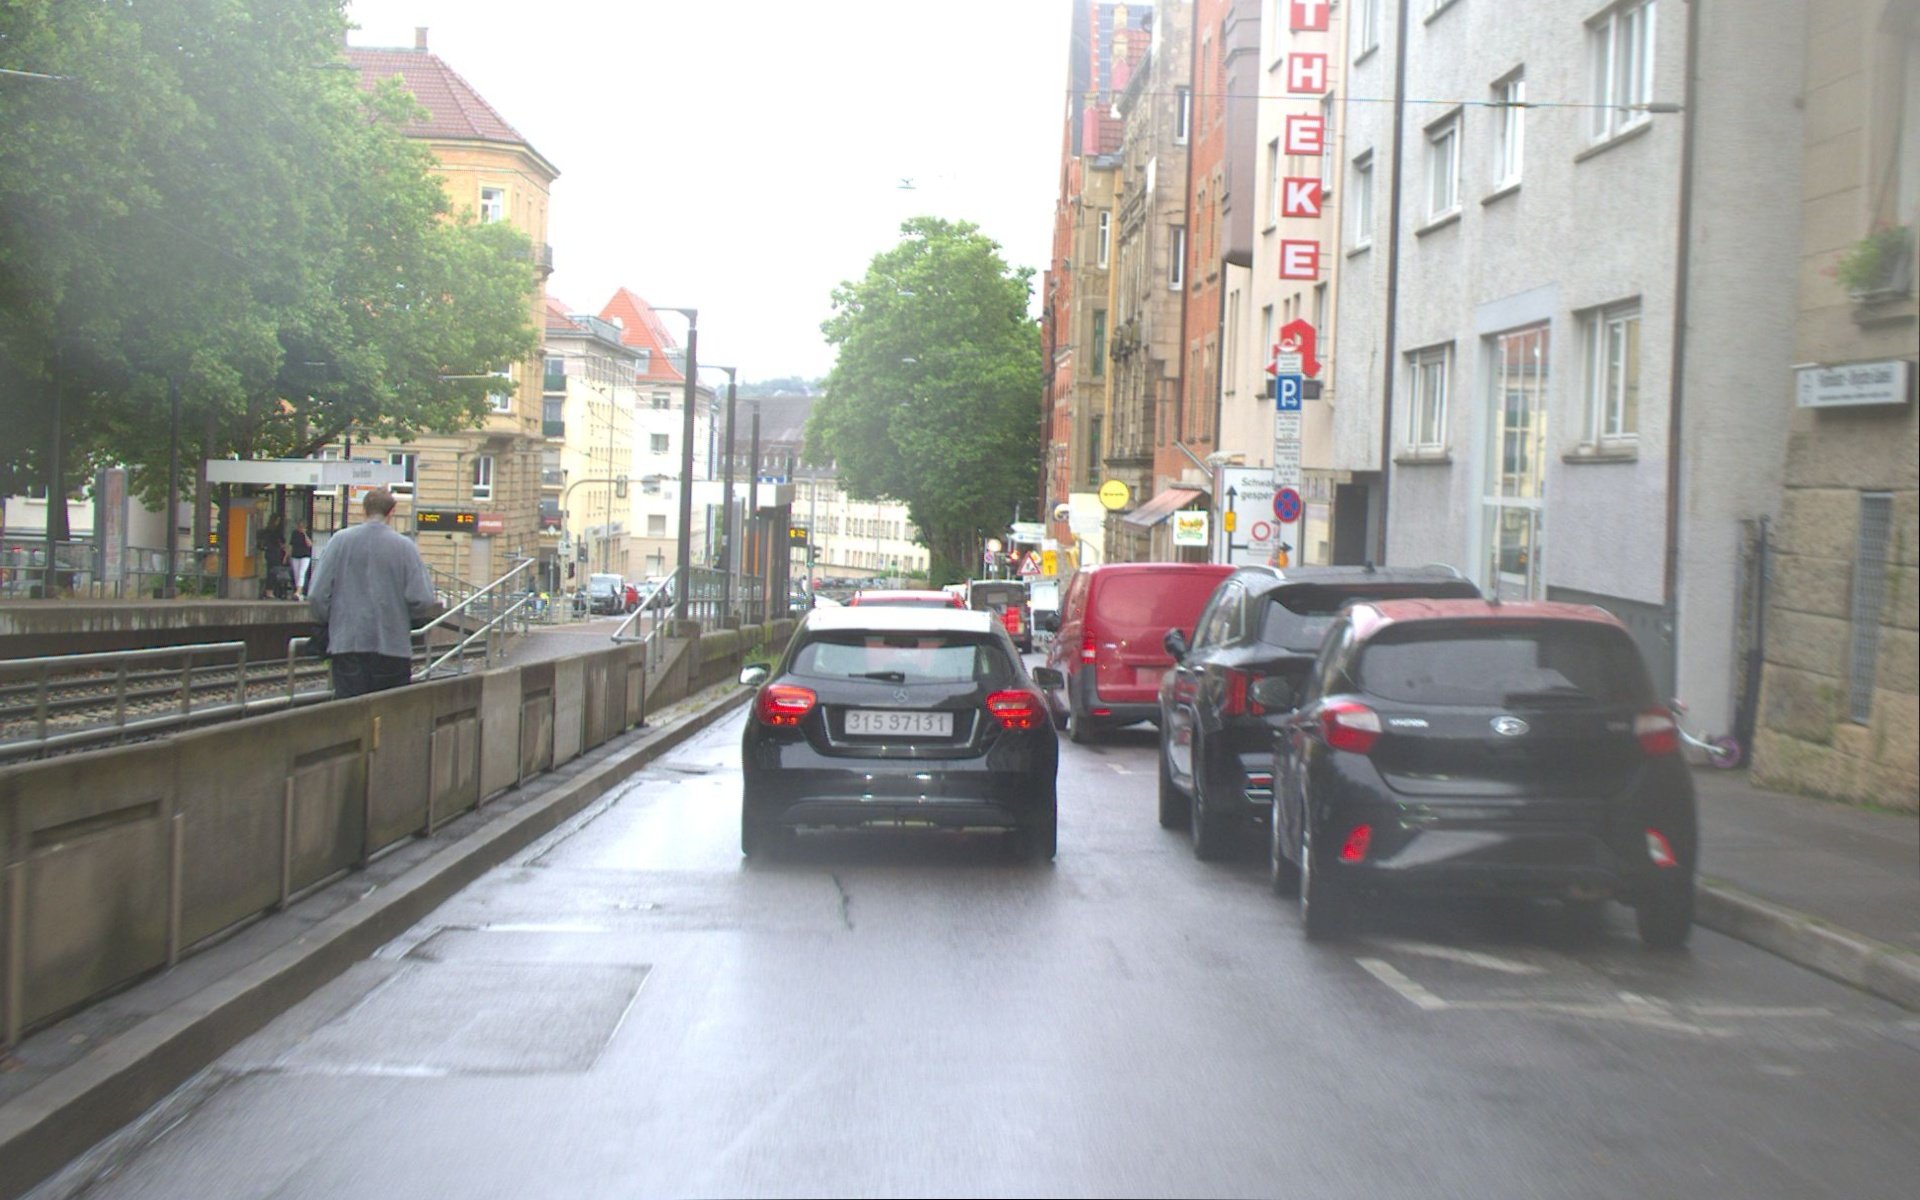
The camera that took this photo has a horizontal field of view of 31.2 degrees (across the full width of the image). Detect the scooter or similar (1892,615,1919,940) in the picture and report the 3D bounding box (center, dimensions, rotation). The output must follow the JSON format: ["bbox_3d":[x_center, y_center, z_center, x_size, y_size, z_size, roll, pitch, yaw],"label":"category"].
[{"bbox_3d":[4.182,0.703,13.323,0.366,1.311,1.568,-1,-1,-14],"label":"scooter or similar"}]

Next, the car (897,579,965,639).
[{"bbox_3d":[-0.956,0.276,111.426,1.933,1.825,4.281,2,1,-4],"label":"car"}]

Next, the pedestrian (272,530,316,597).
[{"bbox_3d":[-13.952,-0.772,72.080,0.777,1.358,0.564,3,1,-3],"label":"pedestrian"}]

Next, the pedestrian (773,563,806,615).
[{"bbox_3d":[-5.755,-0.377,115.896,0.739,1.718,0.740,2,0,-44],"label":"pedestrian"}]

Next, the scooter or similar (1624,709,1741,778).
[{"bbox_3d":[5.704,1.128,27.159,0.859,0.505,0.257,1,0,30],"label":"scooter or similar"}]

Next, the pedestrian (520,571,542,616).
[{"bbox_3d":[-16.661,-0.248,133.584,0.761,1.744,0.645,1,1,1],"label":"pedestrian"}]

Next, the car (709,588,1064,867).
[{"bbox_3d":[-0.406,0.685,20.575,1.894,1.385,4.000,1,2,0],"label":"car"}]

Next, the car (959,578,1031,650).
[{"bbox_3d":[0.974,0.373,96.529,1.921,1.929,4.685,2,0,0],"label":"car"}]

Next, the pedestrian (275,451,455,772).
[{"bbox_3d":[-3.442,0.061,19.957,0.859,1.793,0.787,2,1,-1],"label":"pedestrian"}]

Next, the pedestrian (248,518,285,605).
[{"bbox_3d":[-13.843,-0.767,68.642,0.562,1.709,0.706,3,1,-3],"label":"pedestrian"}]

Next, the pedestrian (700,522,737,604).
[{"bbox_3d":[-4.737,-0.721,67.364,0.496,1.599,0.636,2,0,16],"label":"pedestrian"}]

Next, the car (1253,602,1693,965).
[{"bbox_3d":[2.276,0.762,16.055,1.661,1.447,3.609,1,0,3],"label":"car"}]

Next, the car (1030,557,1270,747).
[{"bbox_3d":[1.931,0.497,36.543,1.974,1.832,5.246,1,0,-3],"label":"car"}]

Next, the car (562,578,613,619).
[{"bbox_3d":[-17.484,-0.089,161.353,1.993,1.853,4.000,1,1,-1],"label":"car"}]

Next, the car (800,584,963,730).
[{"bbox_3d":[-0.908,0.592,38.059,1.679,1.484,3.613,1,1,-3],"label":"car"}]

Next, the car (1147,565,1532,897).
[{"bbox_3d":[2.162,0.681,20.730,1.765,1.702,4.499,2,1,0],"label":"car"}]
